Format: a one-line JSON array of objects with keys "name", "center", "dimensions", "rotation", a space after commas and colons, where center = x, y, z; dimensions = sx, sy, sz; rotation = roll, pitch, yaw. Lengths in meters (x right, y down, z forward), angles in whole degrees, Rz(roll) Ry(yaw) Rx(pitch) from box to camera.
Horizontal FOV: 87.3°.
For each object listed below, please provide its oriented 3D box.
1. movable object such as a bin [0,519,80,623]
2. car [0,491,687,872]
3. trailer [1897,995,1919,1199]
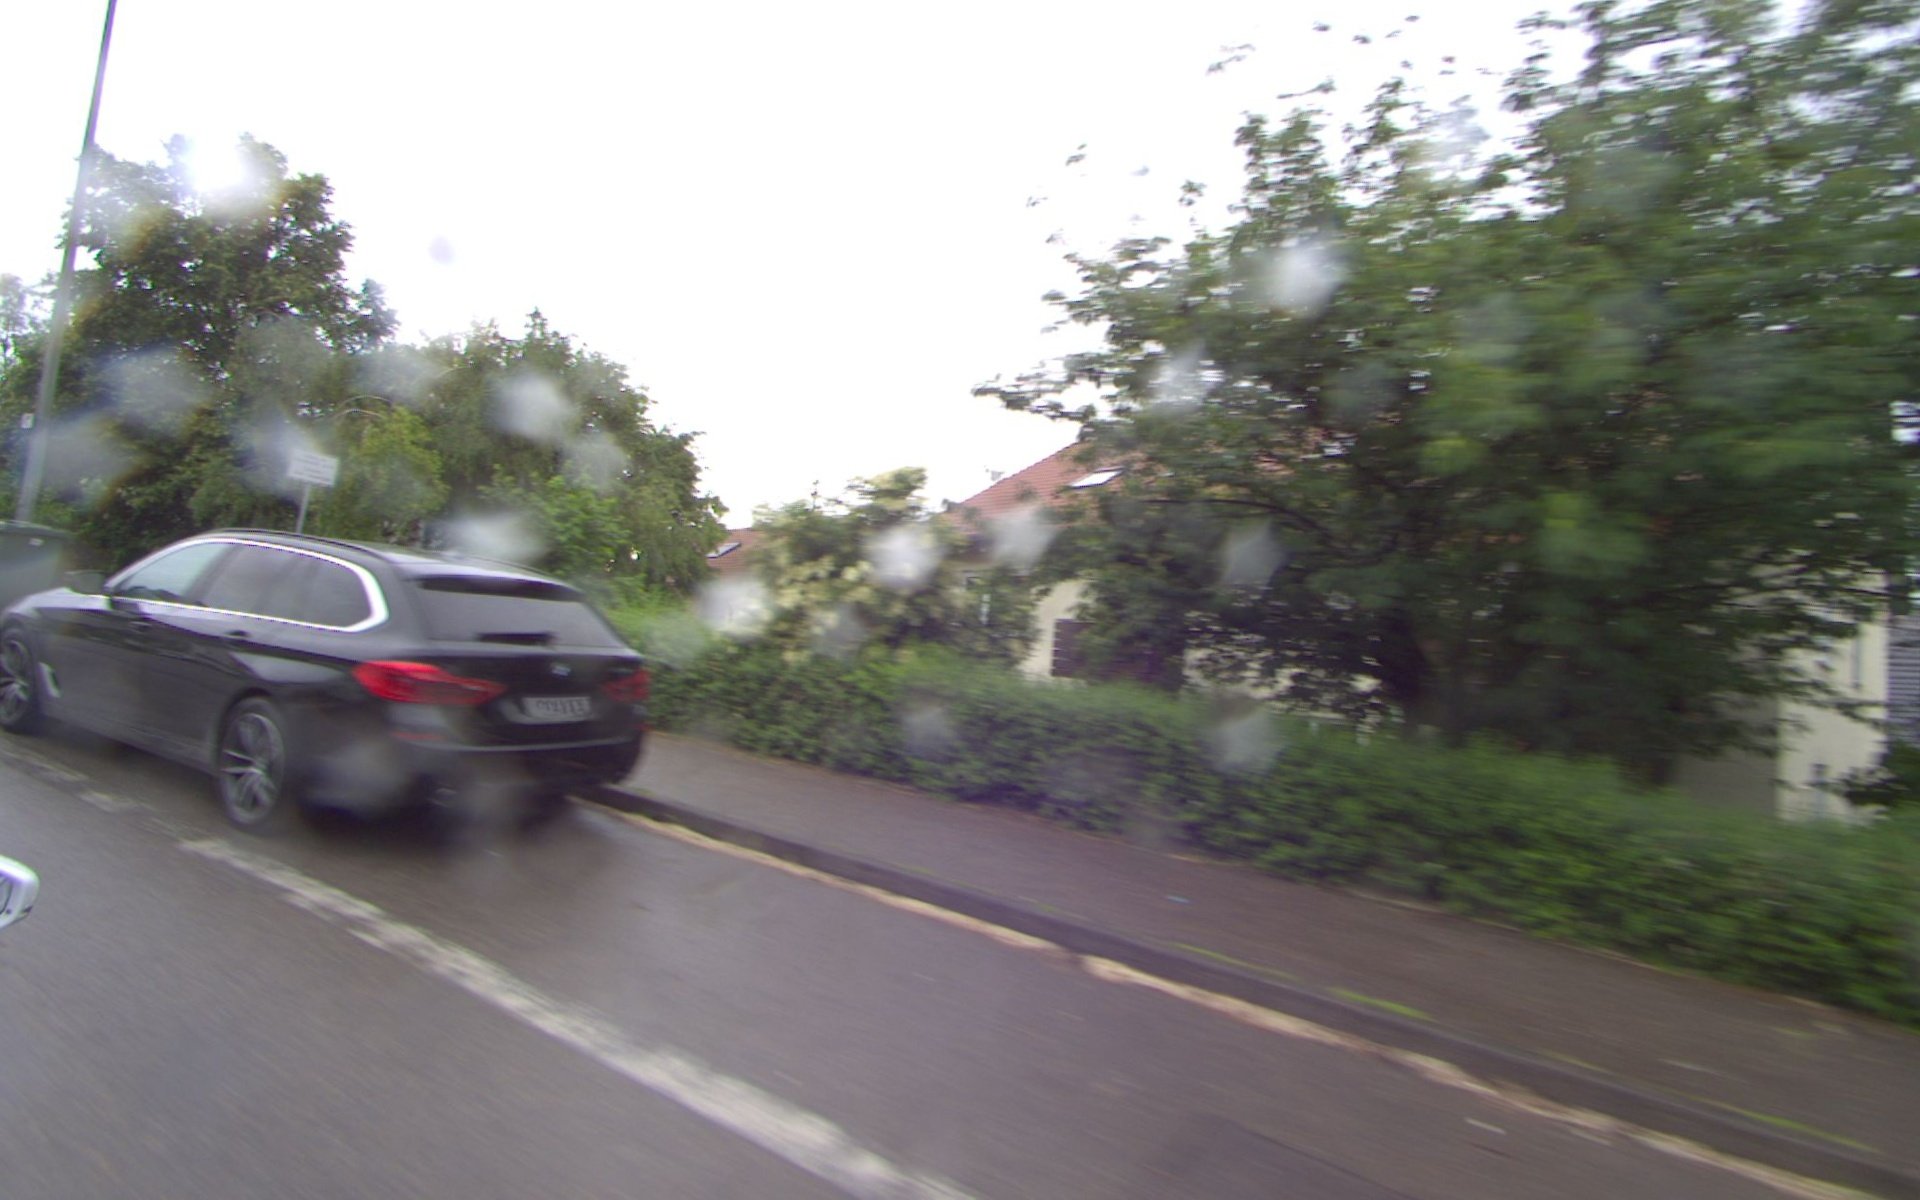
[{"name": "movable object such as a bin", "center": [-11.014, -0.357, 11.774], "dimensions": [0.834, 1.106, 0.715], "rotation": [7, -1, 28]}, {"name": "car", "center": [-4.177, 0.305, 6.343], "dimensions": [4.706, 1.476, 1.797], "rotation": [7, -1, 29]}, {"name": "trailer", "center": [4.780, 0.809, 0.876], "dimensions": [5.348, 2.485, 1.951], "rotation": [6, -1, 34]}]
